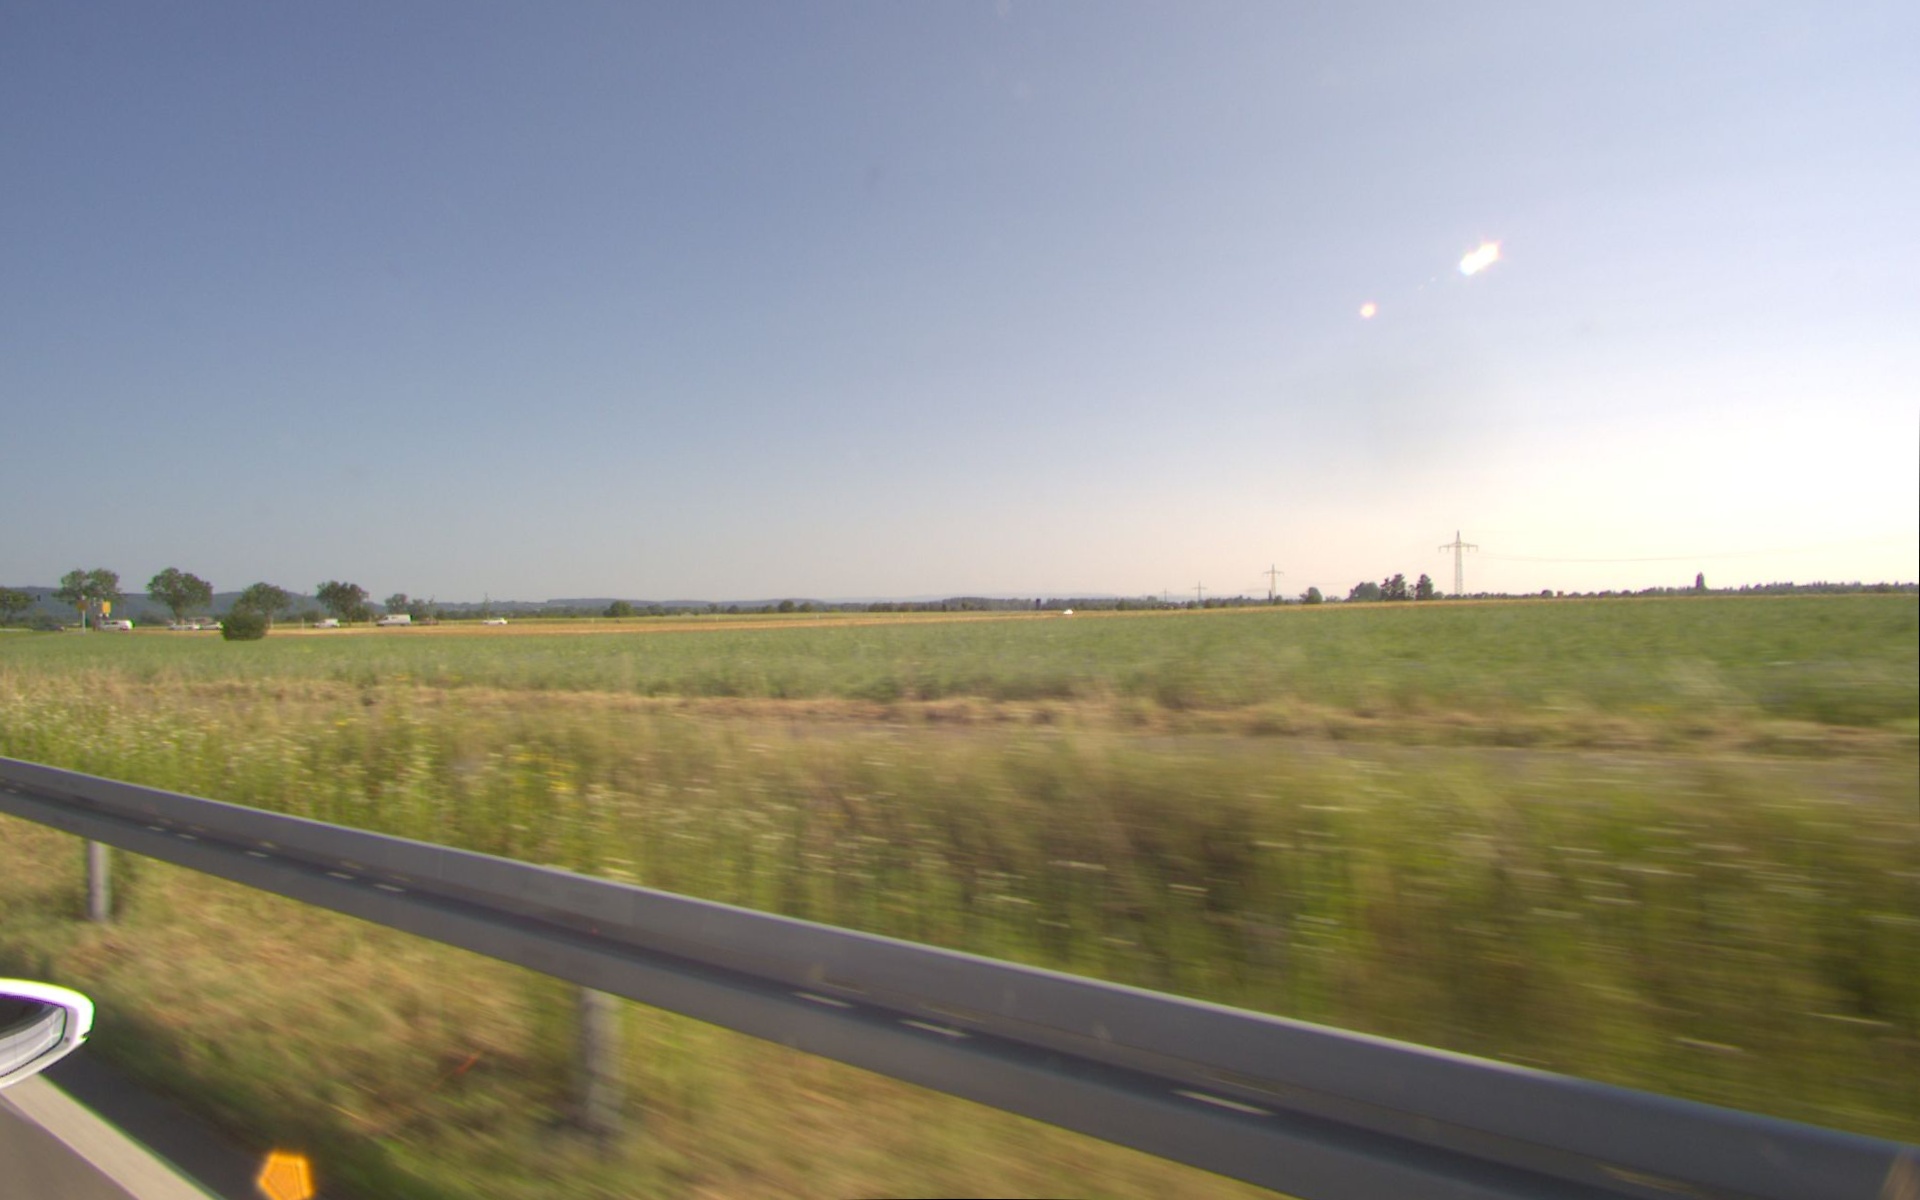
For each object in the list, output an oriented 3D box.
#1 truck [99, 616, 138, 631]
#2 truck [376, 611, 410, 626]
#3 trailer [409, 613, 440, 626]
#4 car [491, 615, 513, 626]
[{"bbox_3d":[-151.931,4.268,180.770,4.980,2.561,1.996,1,-2,-19],"label":"truck"},{"bbox_3d":[-111.565,3.667,197.040,5.510,2.729,3.284,1,-2,-25],"label":"truck"},{"bbox_3d":[-106.591,3.875,199.397,5.375,2.383,3.345,1,-2,-25],"label":"trailer"},{"bbox_3d":[-93.267,4.210,203.920,3.932,2.040,1.995,-1,-1,-20],"label":"car"}]
